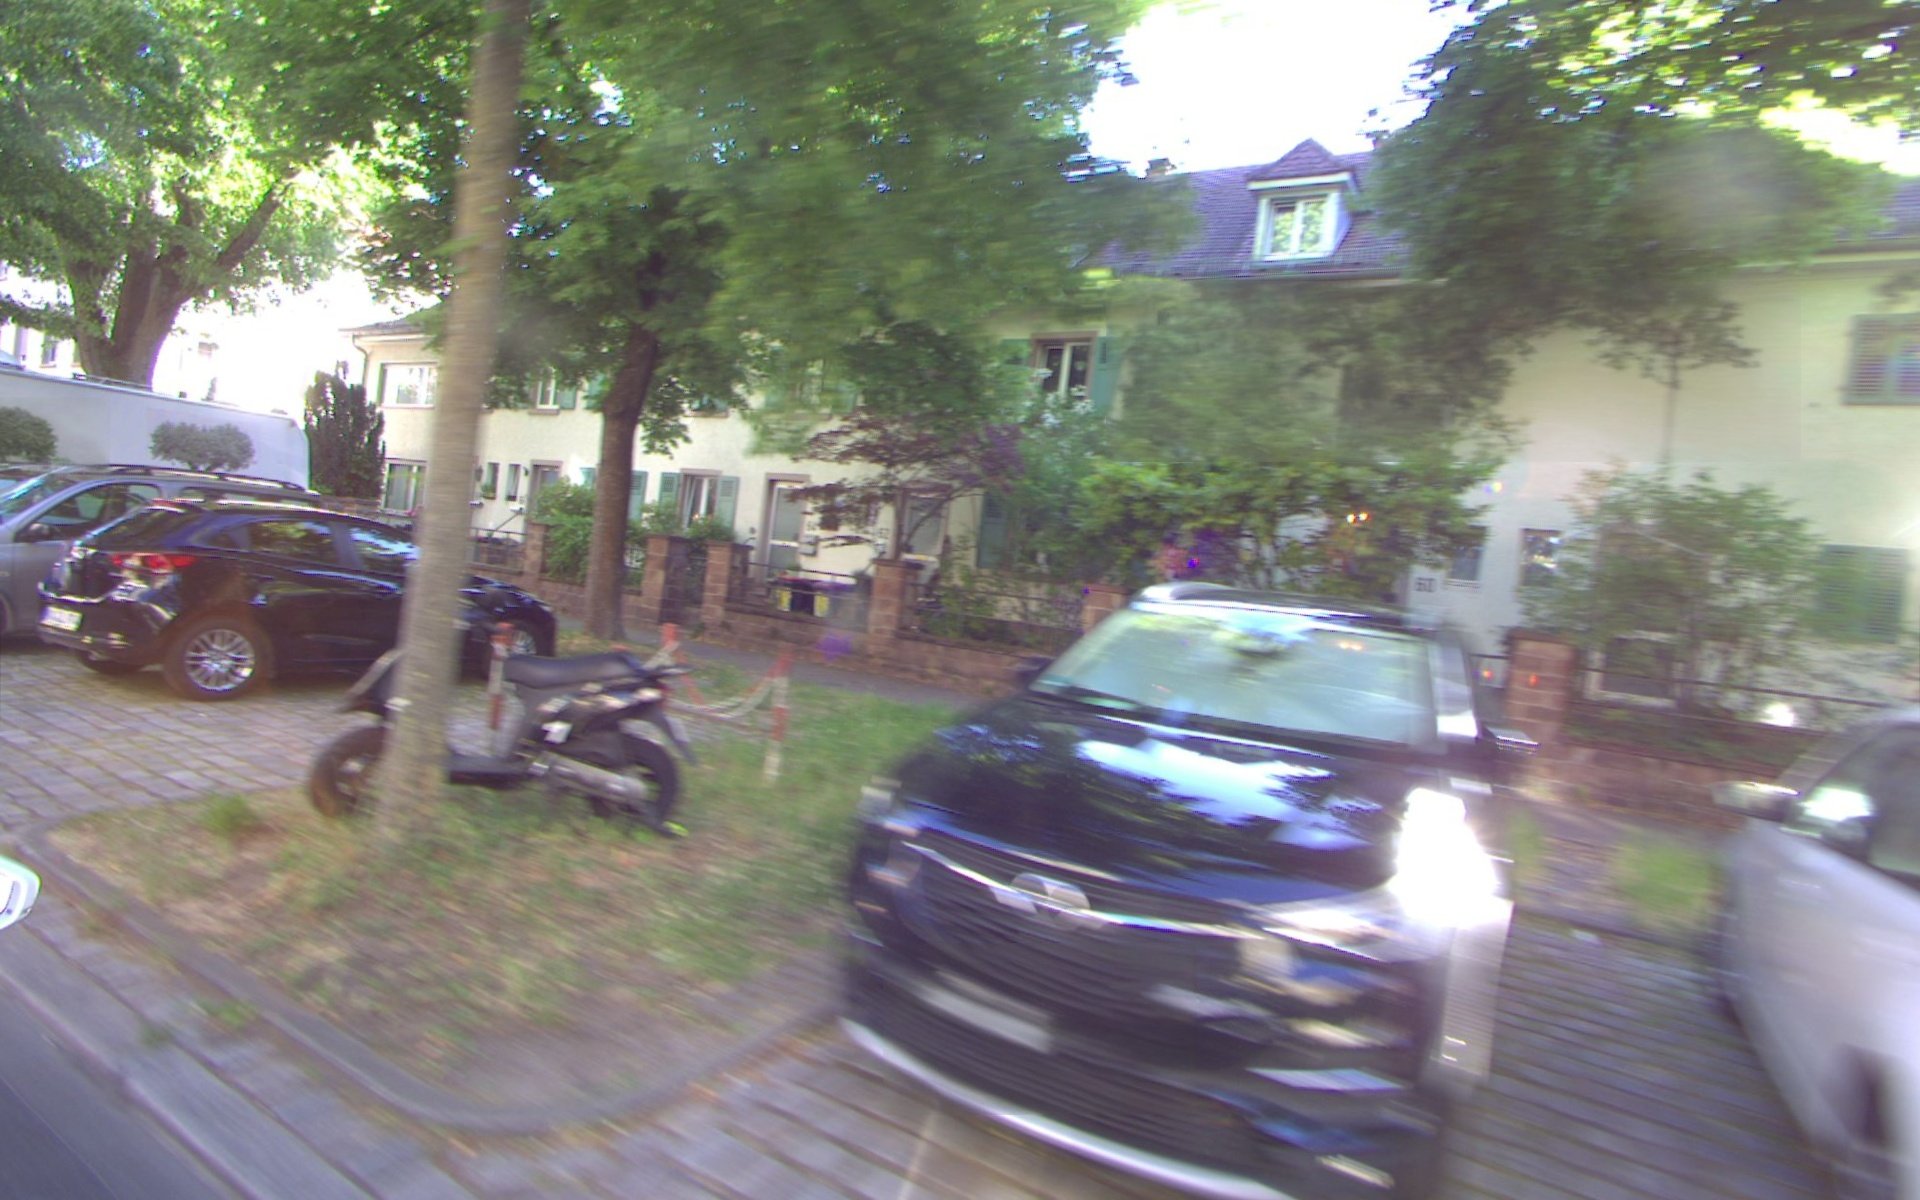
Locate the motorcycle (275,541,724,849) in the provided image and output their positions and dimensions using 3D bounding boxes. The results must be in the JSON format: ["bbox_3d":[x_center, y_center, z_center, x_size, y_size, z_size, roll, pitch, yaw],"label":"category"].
[{"bbox_3d":[-2.106,0.447,4.864,1.748,1.212,0.736,7,1,-13],"label":"motorcycle"}]

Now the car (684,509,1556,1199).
[{"bbox_3d":[1.214,0.742,4.114,1.895,1.629,4.336,7,1,30],"label":"car"}]

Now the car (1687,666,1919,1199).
[{"bbox_3d":[3.346,1.067,2.830,1.665,1.494,3.450,7,1,31],"label":"car"}]

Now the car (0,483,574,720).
[{"bbox_3d":[-5.584,0.011,8.787,1.756,1.492,3.880,7,2,26],"label":"car"}]

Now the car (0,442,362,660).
[{"bbox_3d":[-8.075,-0.452,9.369,1.700,1.767,3.915,7,2,31],"label":"car"}]

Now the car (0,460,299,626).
[{"bbox_3d":[-9.851,-0.629,10.978,1.873,1.620,3.960,7,2,34],"label":"car"}]

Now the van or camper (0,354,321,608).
[{"bbox_3d":[-13.526,-1.771,14.232,2.422,3.116,7.088,7,0,29],"label":"van or camper"}]
